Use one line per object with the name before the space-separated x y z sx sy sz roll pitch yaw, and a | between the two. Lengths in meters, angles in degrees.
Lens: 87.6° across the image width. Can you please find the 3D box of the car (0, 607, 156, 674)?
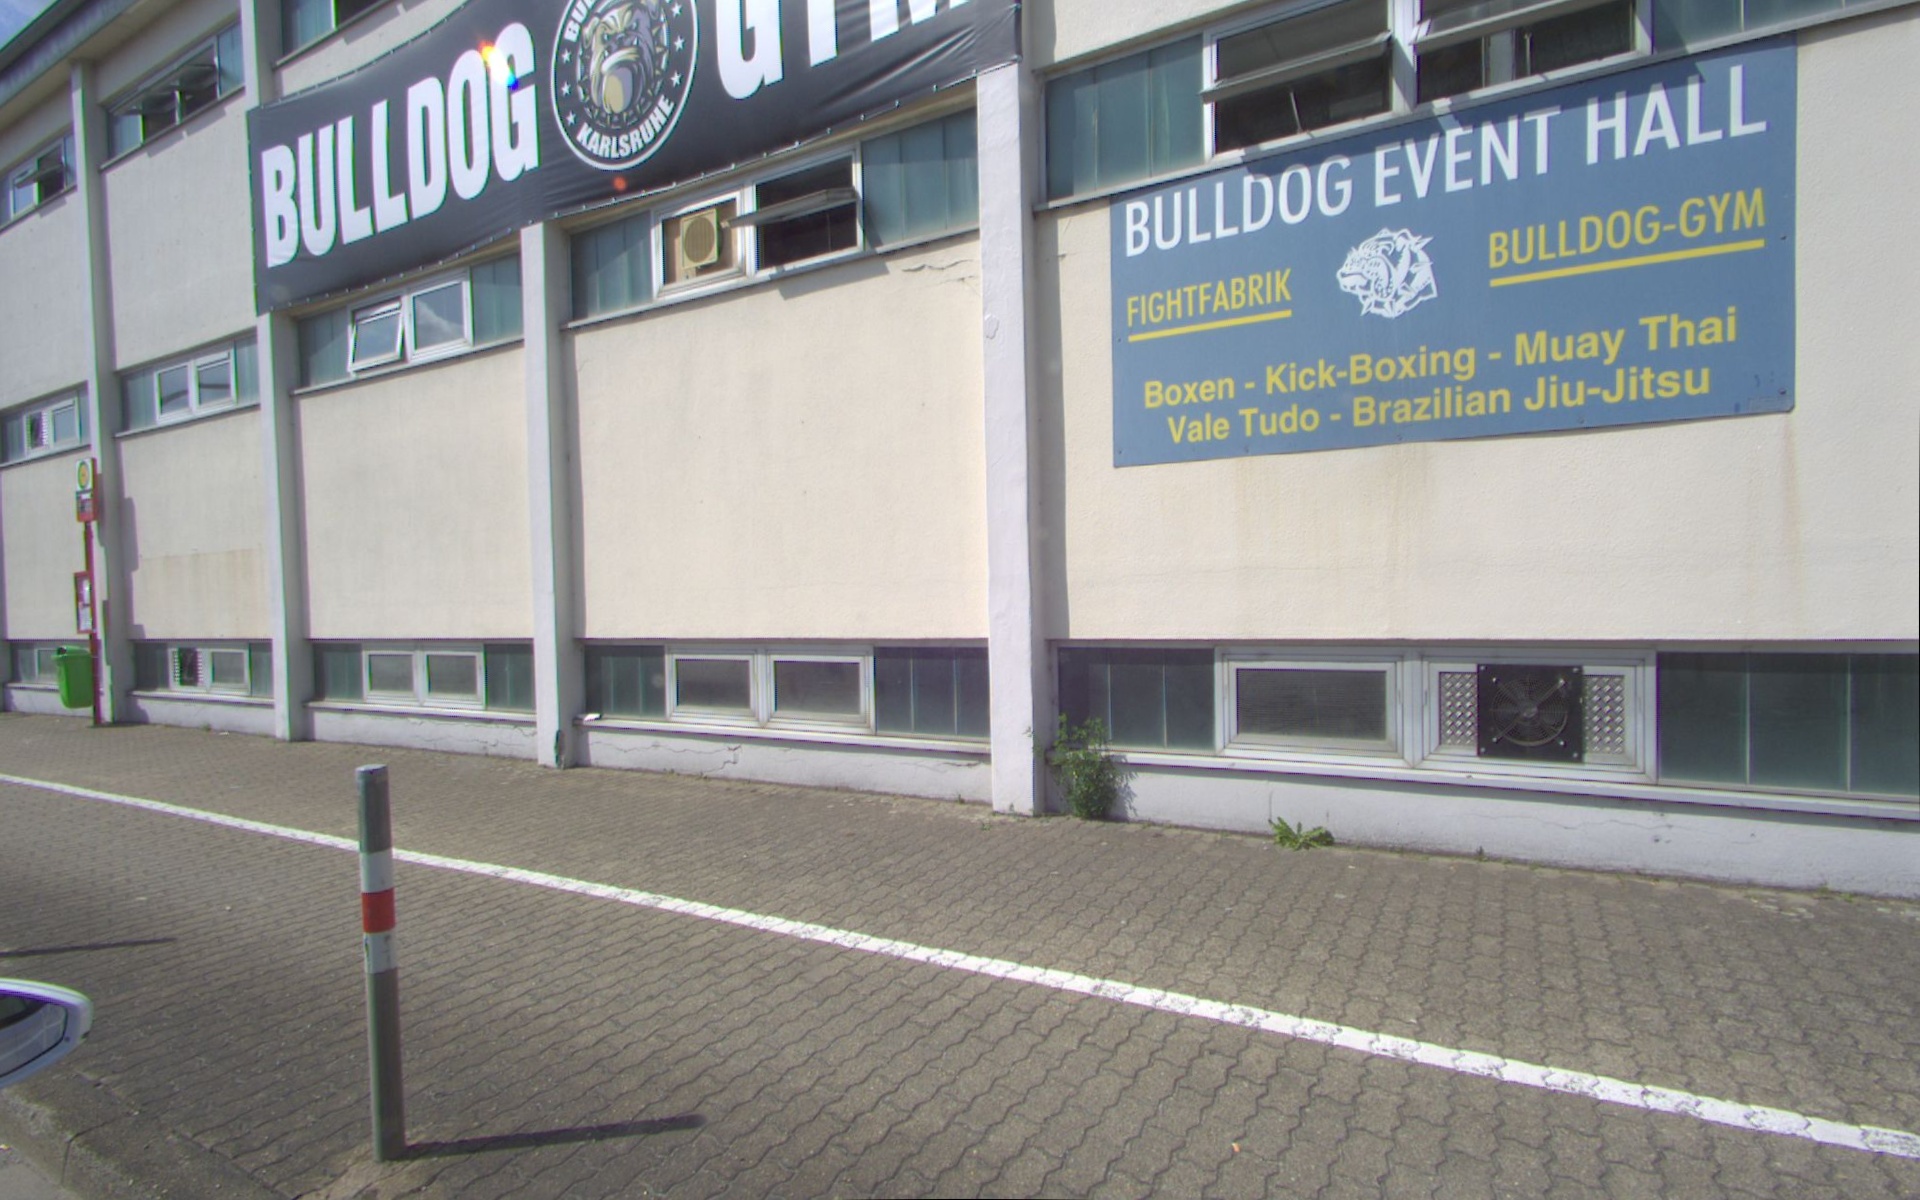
car | -22.398 0.946 24.298 1.628 1.518 4.241 0 0 35
